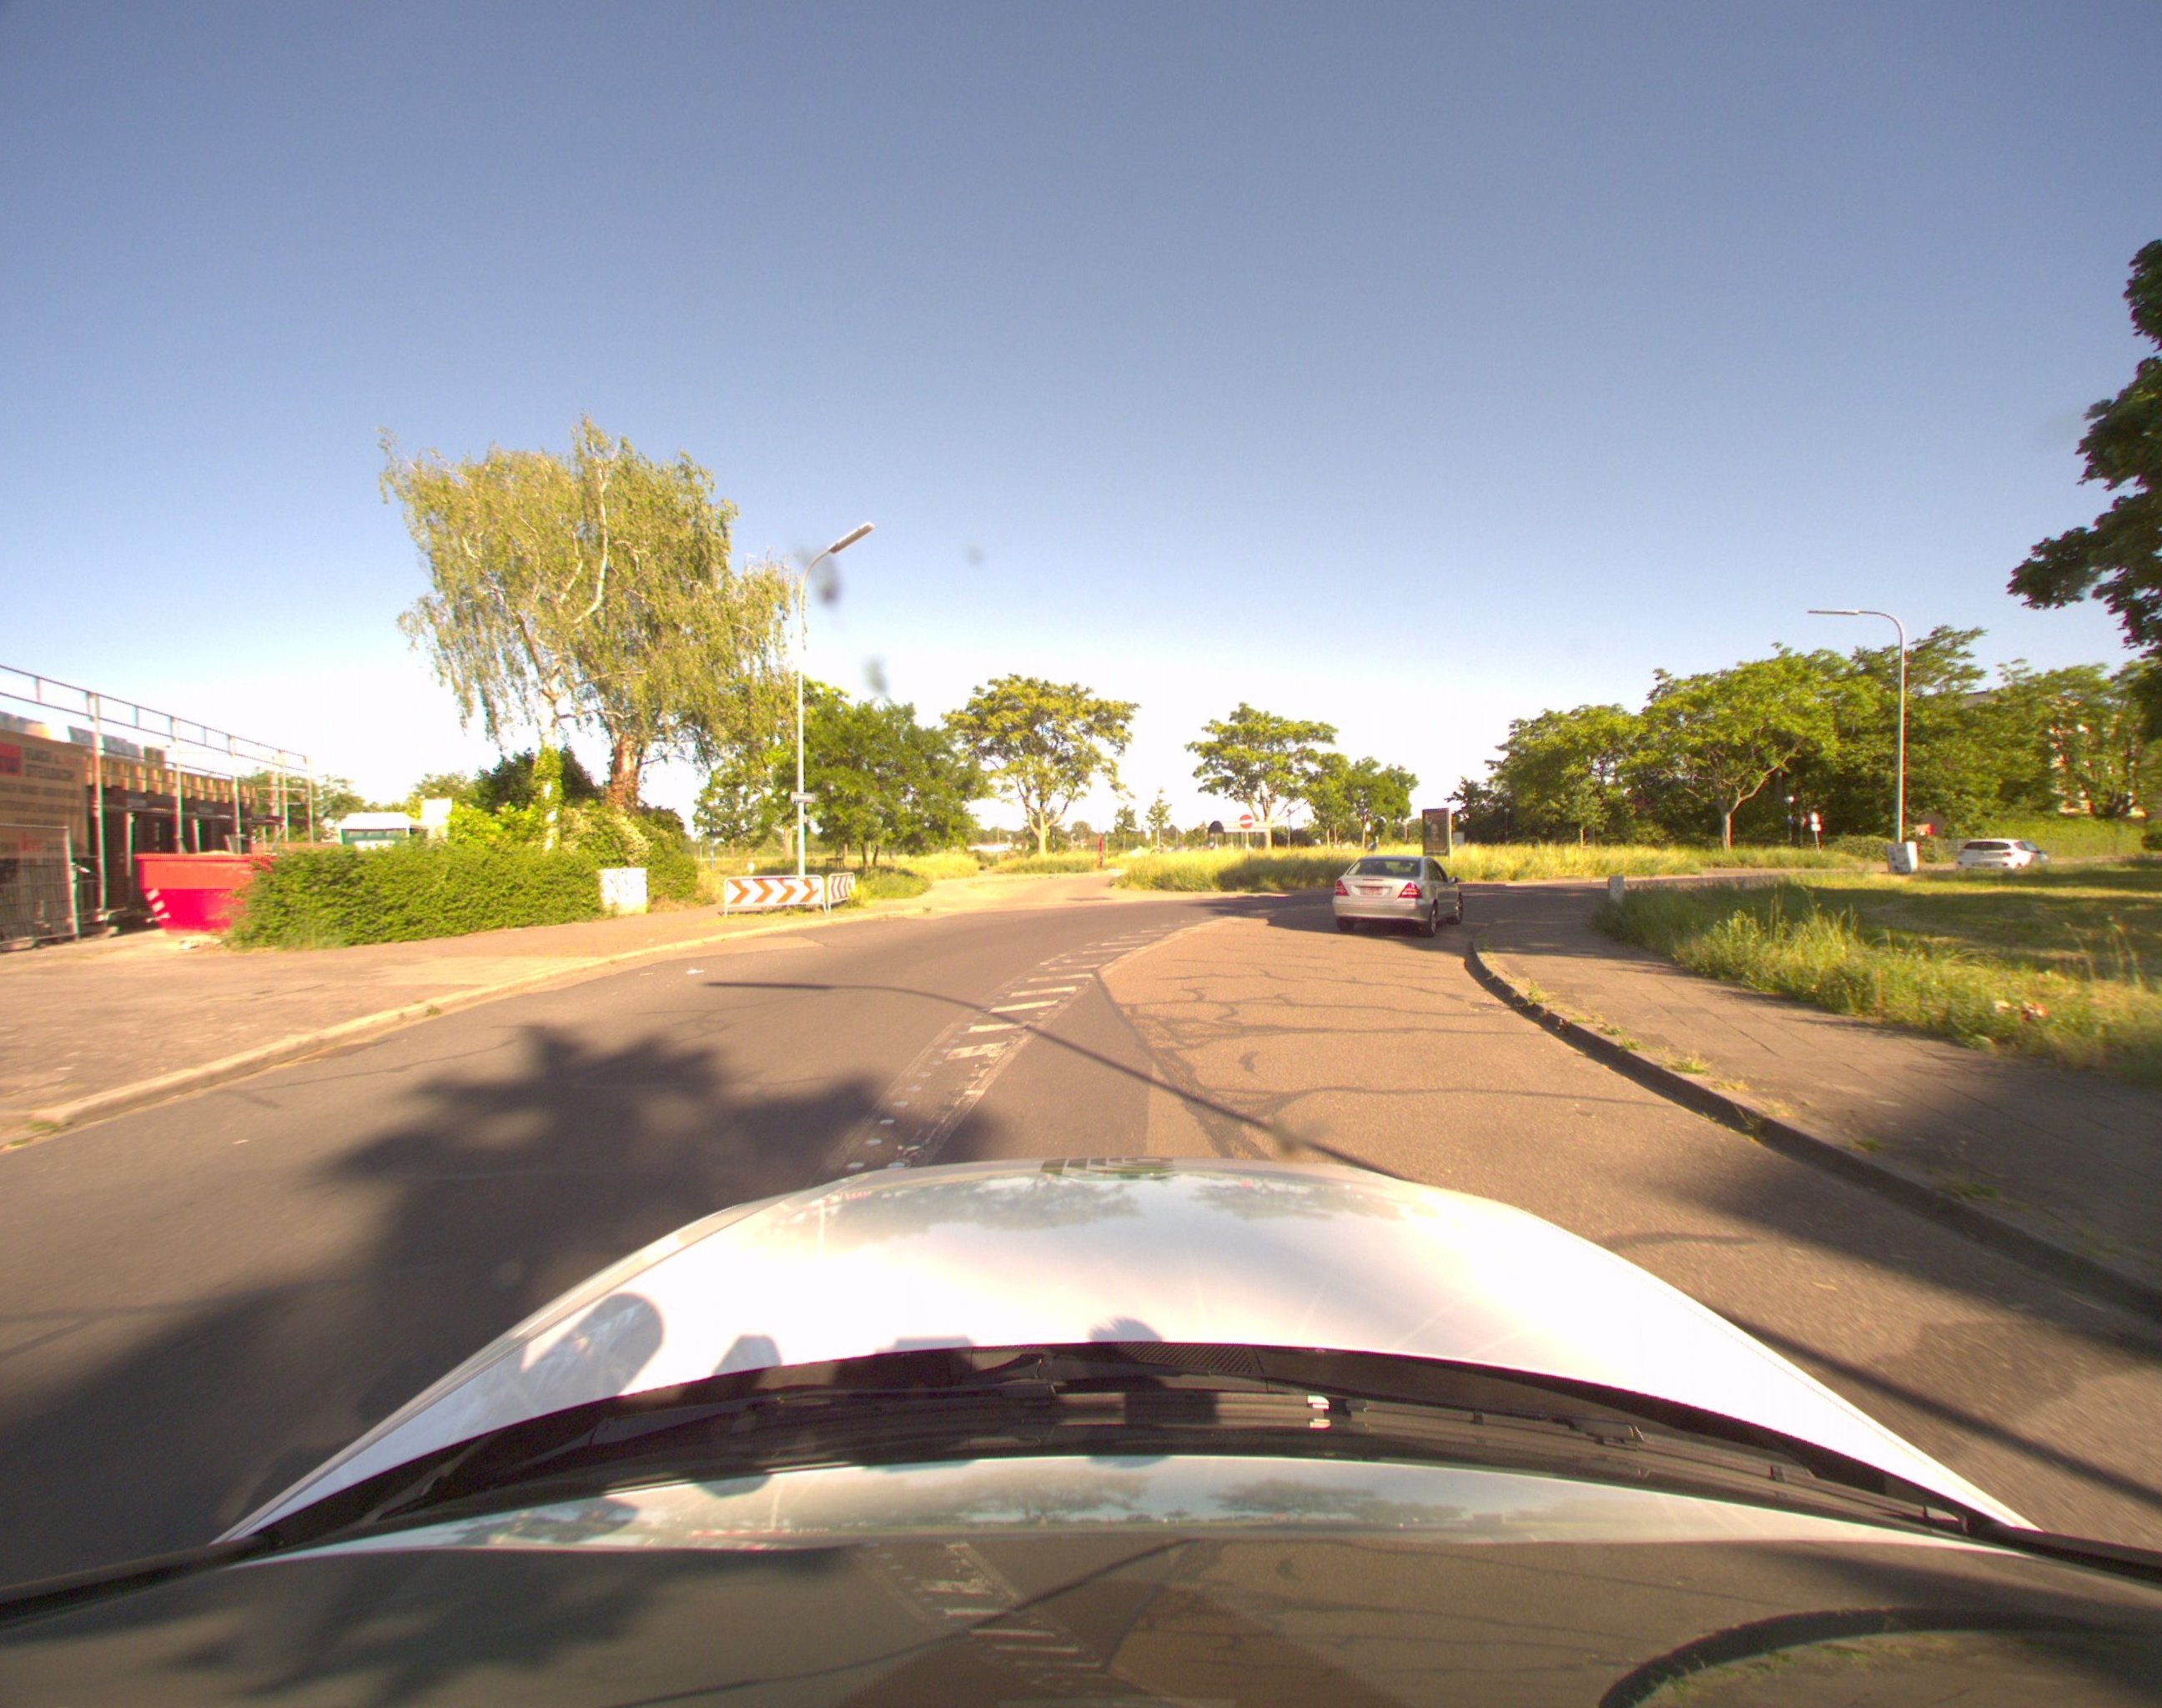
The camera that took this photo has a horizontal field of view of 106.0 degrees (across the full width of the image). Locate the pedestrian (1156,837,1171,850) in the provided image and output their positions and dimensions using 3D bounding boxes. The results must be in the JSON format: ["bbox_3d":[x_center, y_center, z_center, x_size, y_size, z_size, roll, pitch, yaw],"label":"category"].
[{"bbox_3d":[6.044,-0.797,59.777,0.803,0.940,0.696,-1,1,-31],"label":"pedestrian"}]

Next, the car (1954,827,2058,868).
[{"bbox_3d":[37.014,-0.264,32.589,3.747,1.479,1.713,-2,-1,-25],"label":"car"}]

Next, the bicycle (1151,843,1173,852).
[{"bbox_3d":[5.928,-0.480,59.700,1.581,0.704,0.648,0,0,-31],"label":"bicycle"}]

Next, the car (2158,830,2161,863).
[{"bbox_3d":[55.570,-0.443,40.374,4.005,1.611,1.691,-1,-1,-24],"label":"car"}]

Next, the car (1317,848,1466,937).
[{"bbox_3d":[6.152,0.620,15.811,1.799,1.463,4.388,1,1,33],"label":"car"}]
